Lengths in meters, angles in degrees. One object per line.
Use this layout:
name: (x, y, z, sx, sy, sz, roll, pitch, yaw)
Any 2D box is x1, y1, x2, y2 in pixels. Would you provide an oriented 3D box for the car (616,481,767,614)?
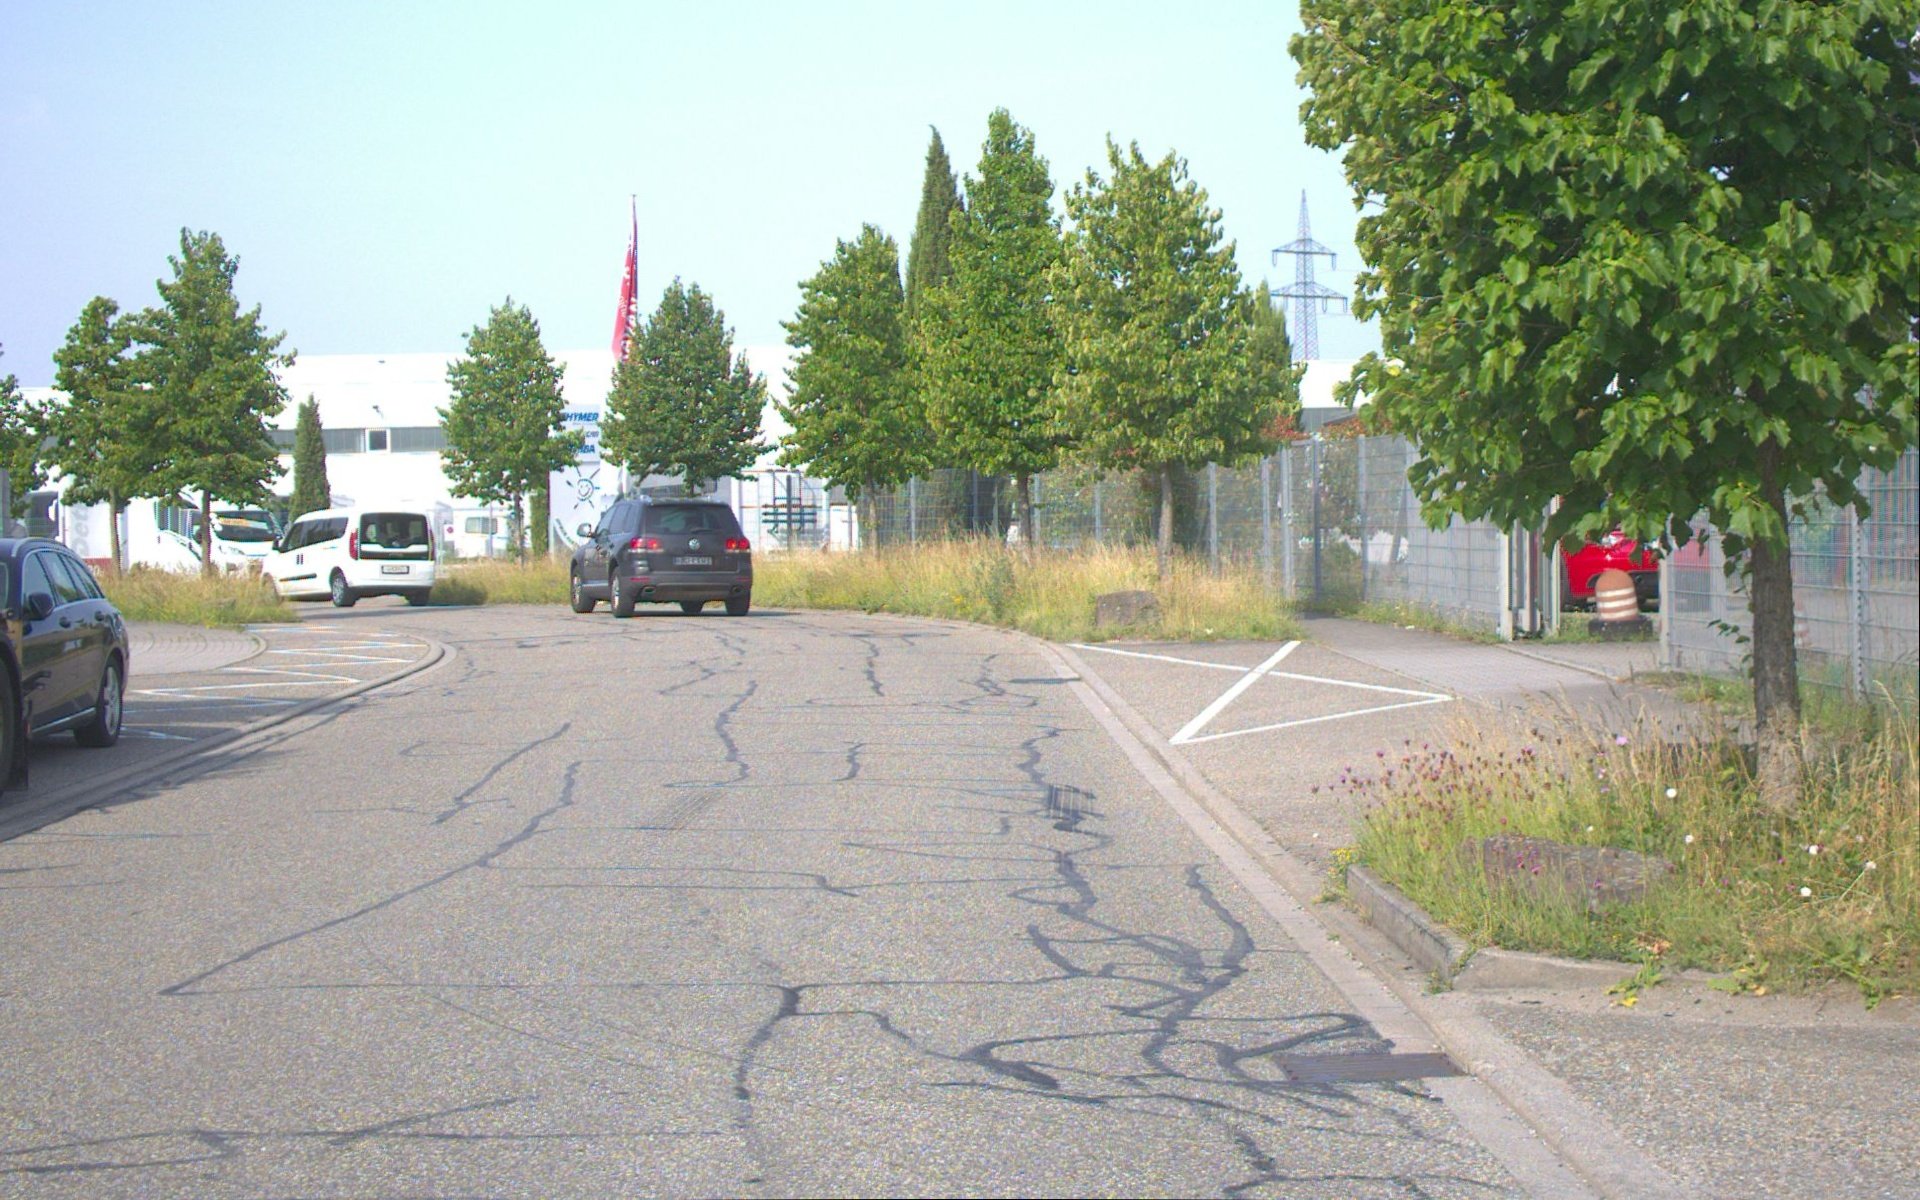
car: (-3.884, -0.777, 49.205, 1.993, 1.798, 4.001, 0, 2, -7)

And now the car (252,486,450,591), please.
car: (-11.483, -1.161, 64.642, 1.994, 1.893, 4.467, -2, 2, -34)

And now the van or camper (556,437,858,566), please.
van or camper: (-6.251, -2.417, 84.552, 7.257, 3.021, 2.586, -1, 1, -7)

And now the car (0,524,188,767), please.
car: (-6.820, 0.233, 23.776, 1.993, 1.461, 4.433, 1, 2, 0)

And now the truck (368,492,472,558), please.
truck: (-19.239, -2.690, 122.863, 2.450, 2.257, 8.003, -1, 2, 0)

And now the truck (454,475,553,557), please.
truck: (-16.256, -3.016, 122.836, 2.450, 2.816, 8.003, -1, 2, 0)

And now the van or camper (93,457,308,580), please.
van or camper: (-18.884, -2.021, 85.228, 2.331, 2.933, 6.969, -2, 2, -38)

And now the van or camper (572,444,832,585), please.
van or camper: (-5.578, -1.794, 73.118, 2.349, 2.838, 7.342, -1, 1, -32)

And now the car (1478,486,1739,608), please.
car: (7.694, -0.664, 41.268, 1.880, 1.353, 4.774, -1, 2, -4)

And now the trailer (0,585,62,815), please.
trailer: (-6.320, 0.637, 16.808, 2.130, 1.228, 7.158, 1, 2, -1)
